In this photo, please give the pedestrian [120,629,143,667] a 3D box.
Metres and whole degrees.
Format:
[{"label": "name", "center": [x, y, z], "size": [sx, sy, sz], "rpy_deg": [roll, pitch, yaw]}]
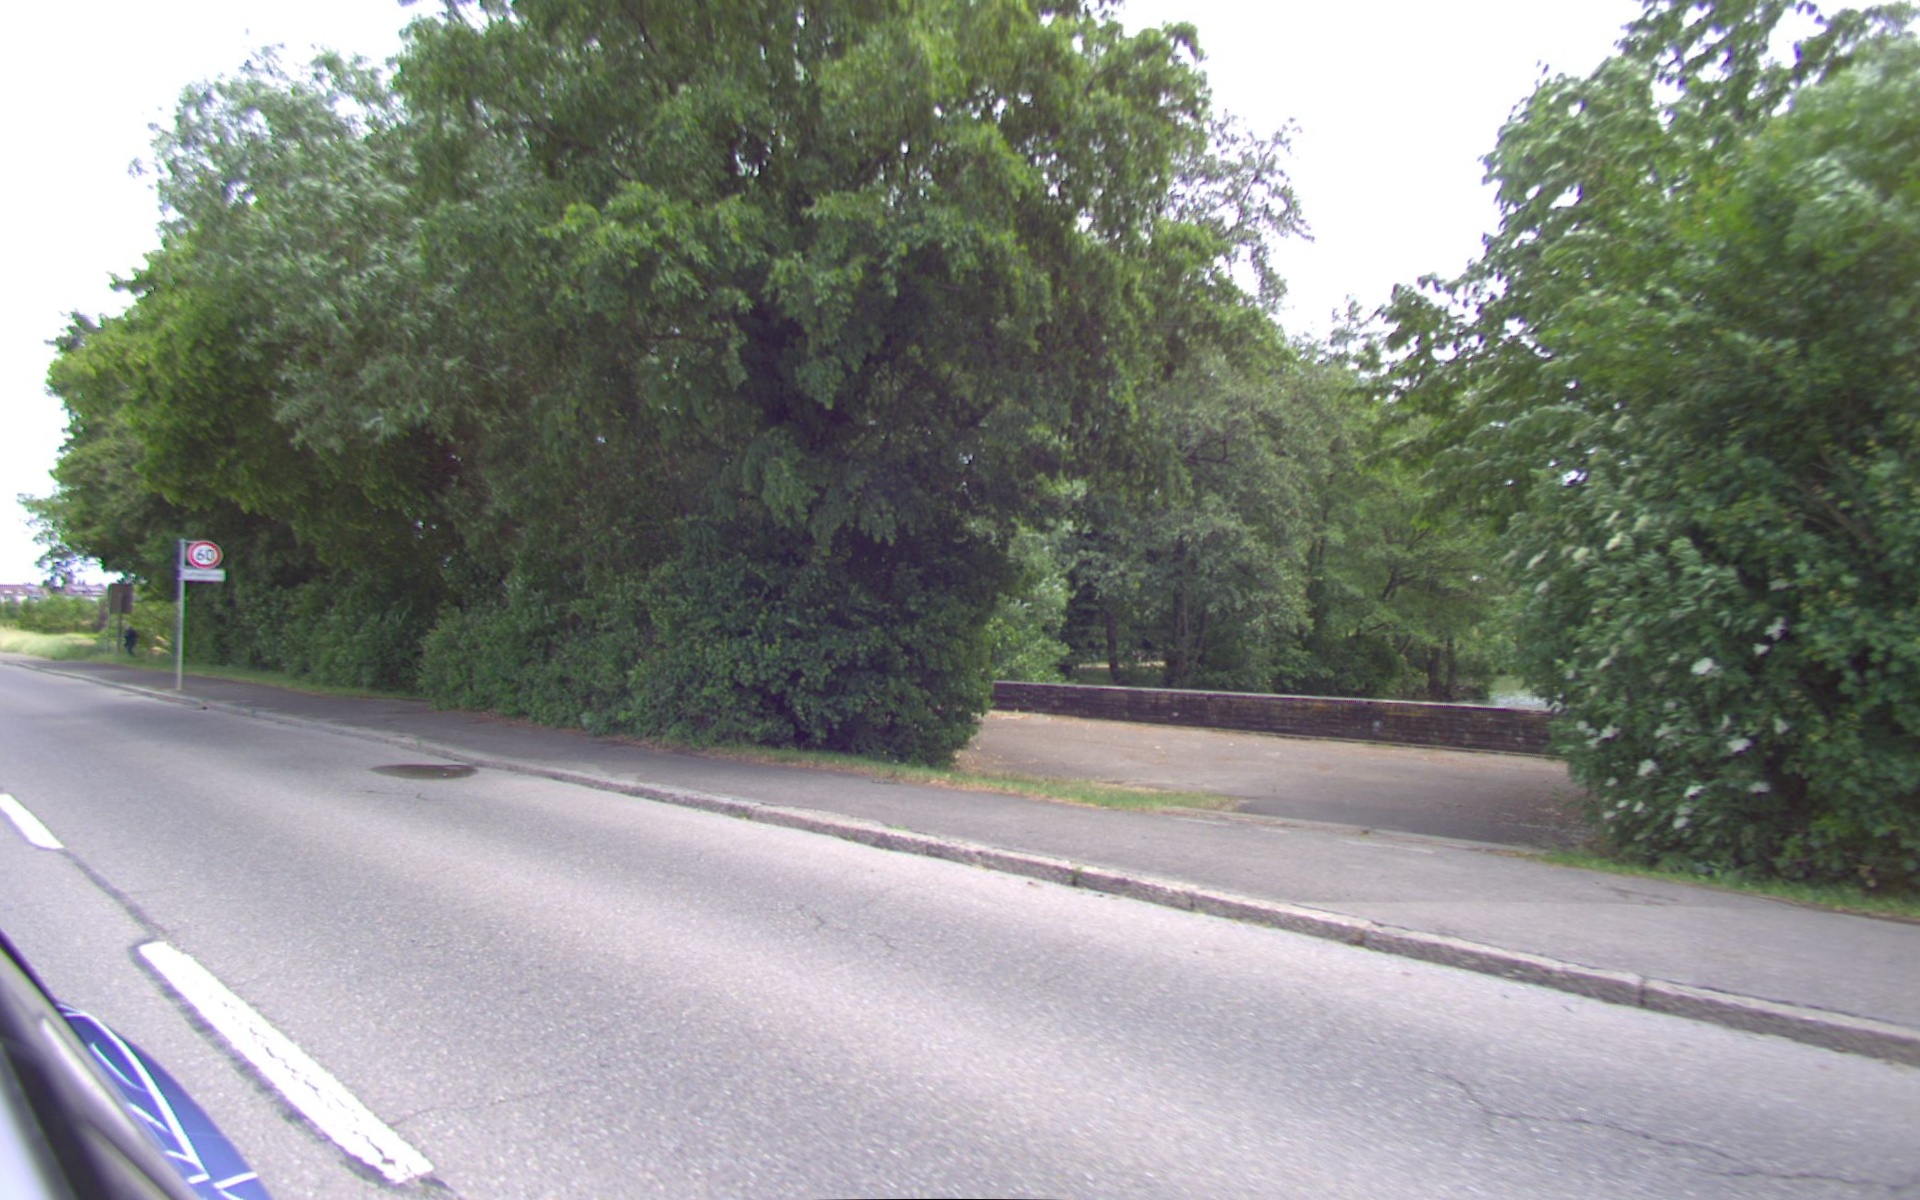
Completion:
[{"label": "pedestrian", "center": [-35.478, 2.054, 43.343], "size": [0.695, 1.606, 0.708], "rpy_deg": [1, -4, -38]}]
